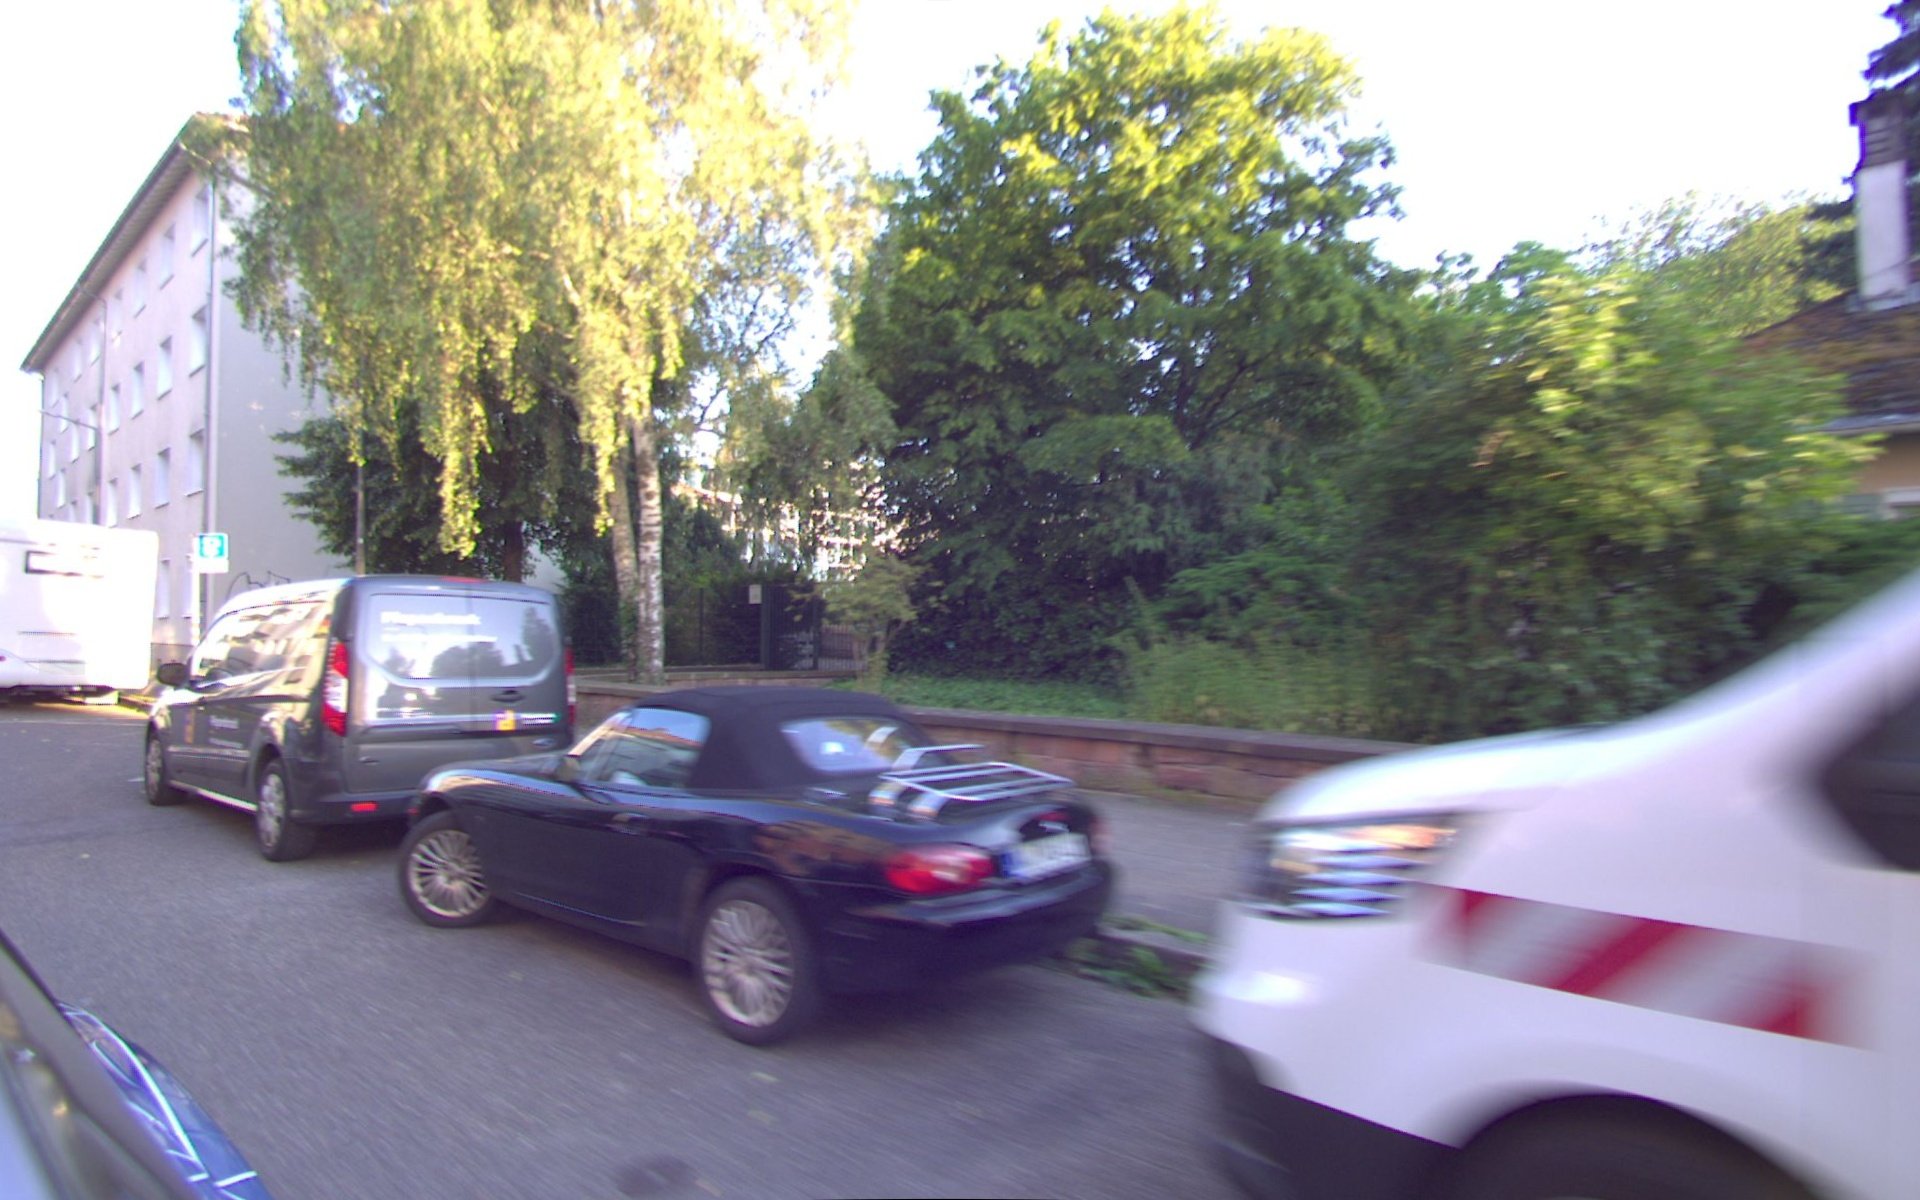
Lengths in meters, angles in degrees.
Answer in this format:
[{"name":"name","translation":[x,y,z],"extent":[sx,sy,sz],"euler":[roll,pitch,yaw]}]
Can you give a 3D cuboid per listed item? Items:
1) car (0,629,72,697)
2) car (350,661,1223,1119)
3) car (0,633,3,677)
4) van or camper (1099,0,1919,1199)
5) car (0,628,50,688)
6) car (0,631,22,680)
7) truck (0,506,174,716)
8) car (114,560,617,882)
[{"name":"car","translation":[-22.915,1.475,24.225],"extent":[4.908,1.488,1.886],"euler":[-2,-5,42]},{"name":"car","translation":[-1.019,0.955,4.935],"extent":[4.029,1.198,1.975],"euler":[-1,-2,37]},{"name":"car","translation":[-34.119,1.857,34.340],"extent":[4.429,1.455,1.973],"euler":[-2,-3,41]},{"name":"van or camper","translation":[3.232,0.104,0.946],"extent":[6.080,2.475,1.972],"euler":[-2,-3,41]},{"name":"car","translation":[-26.234,1.561,27.387],"extent":[4.065,1.545,1.772],"euler":[-2,-4,40]},{"name":"car","translation":[-30.246,1.679,30.776],"extent":[4.428,1.455,1.973],"euler":[-2,-2,40]},{"name":"truck","translation":[-17.912,0.326,19.679],"extent":[8.013,3.379,2.499],"euler":[-2,-5,41]},{"name":"car","translation":[-4.922,0.776,8.023],"extent":[4.946,1.802,1.890],"euler":[-2,-4,40]}]
